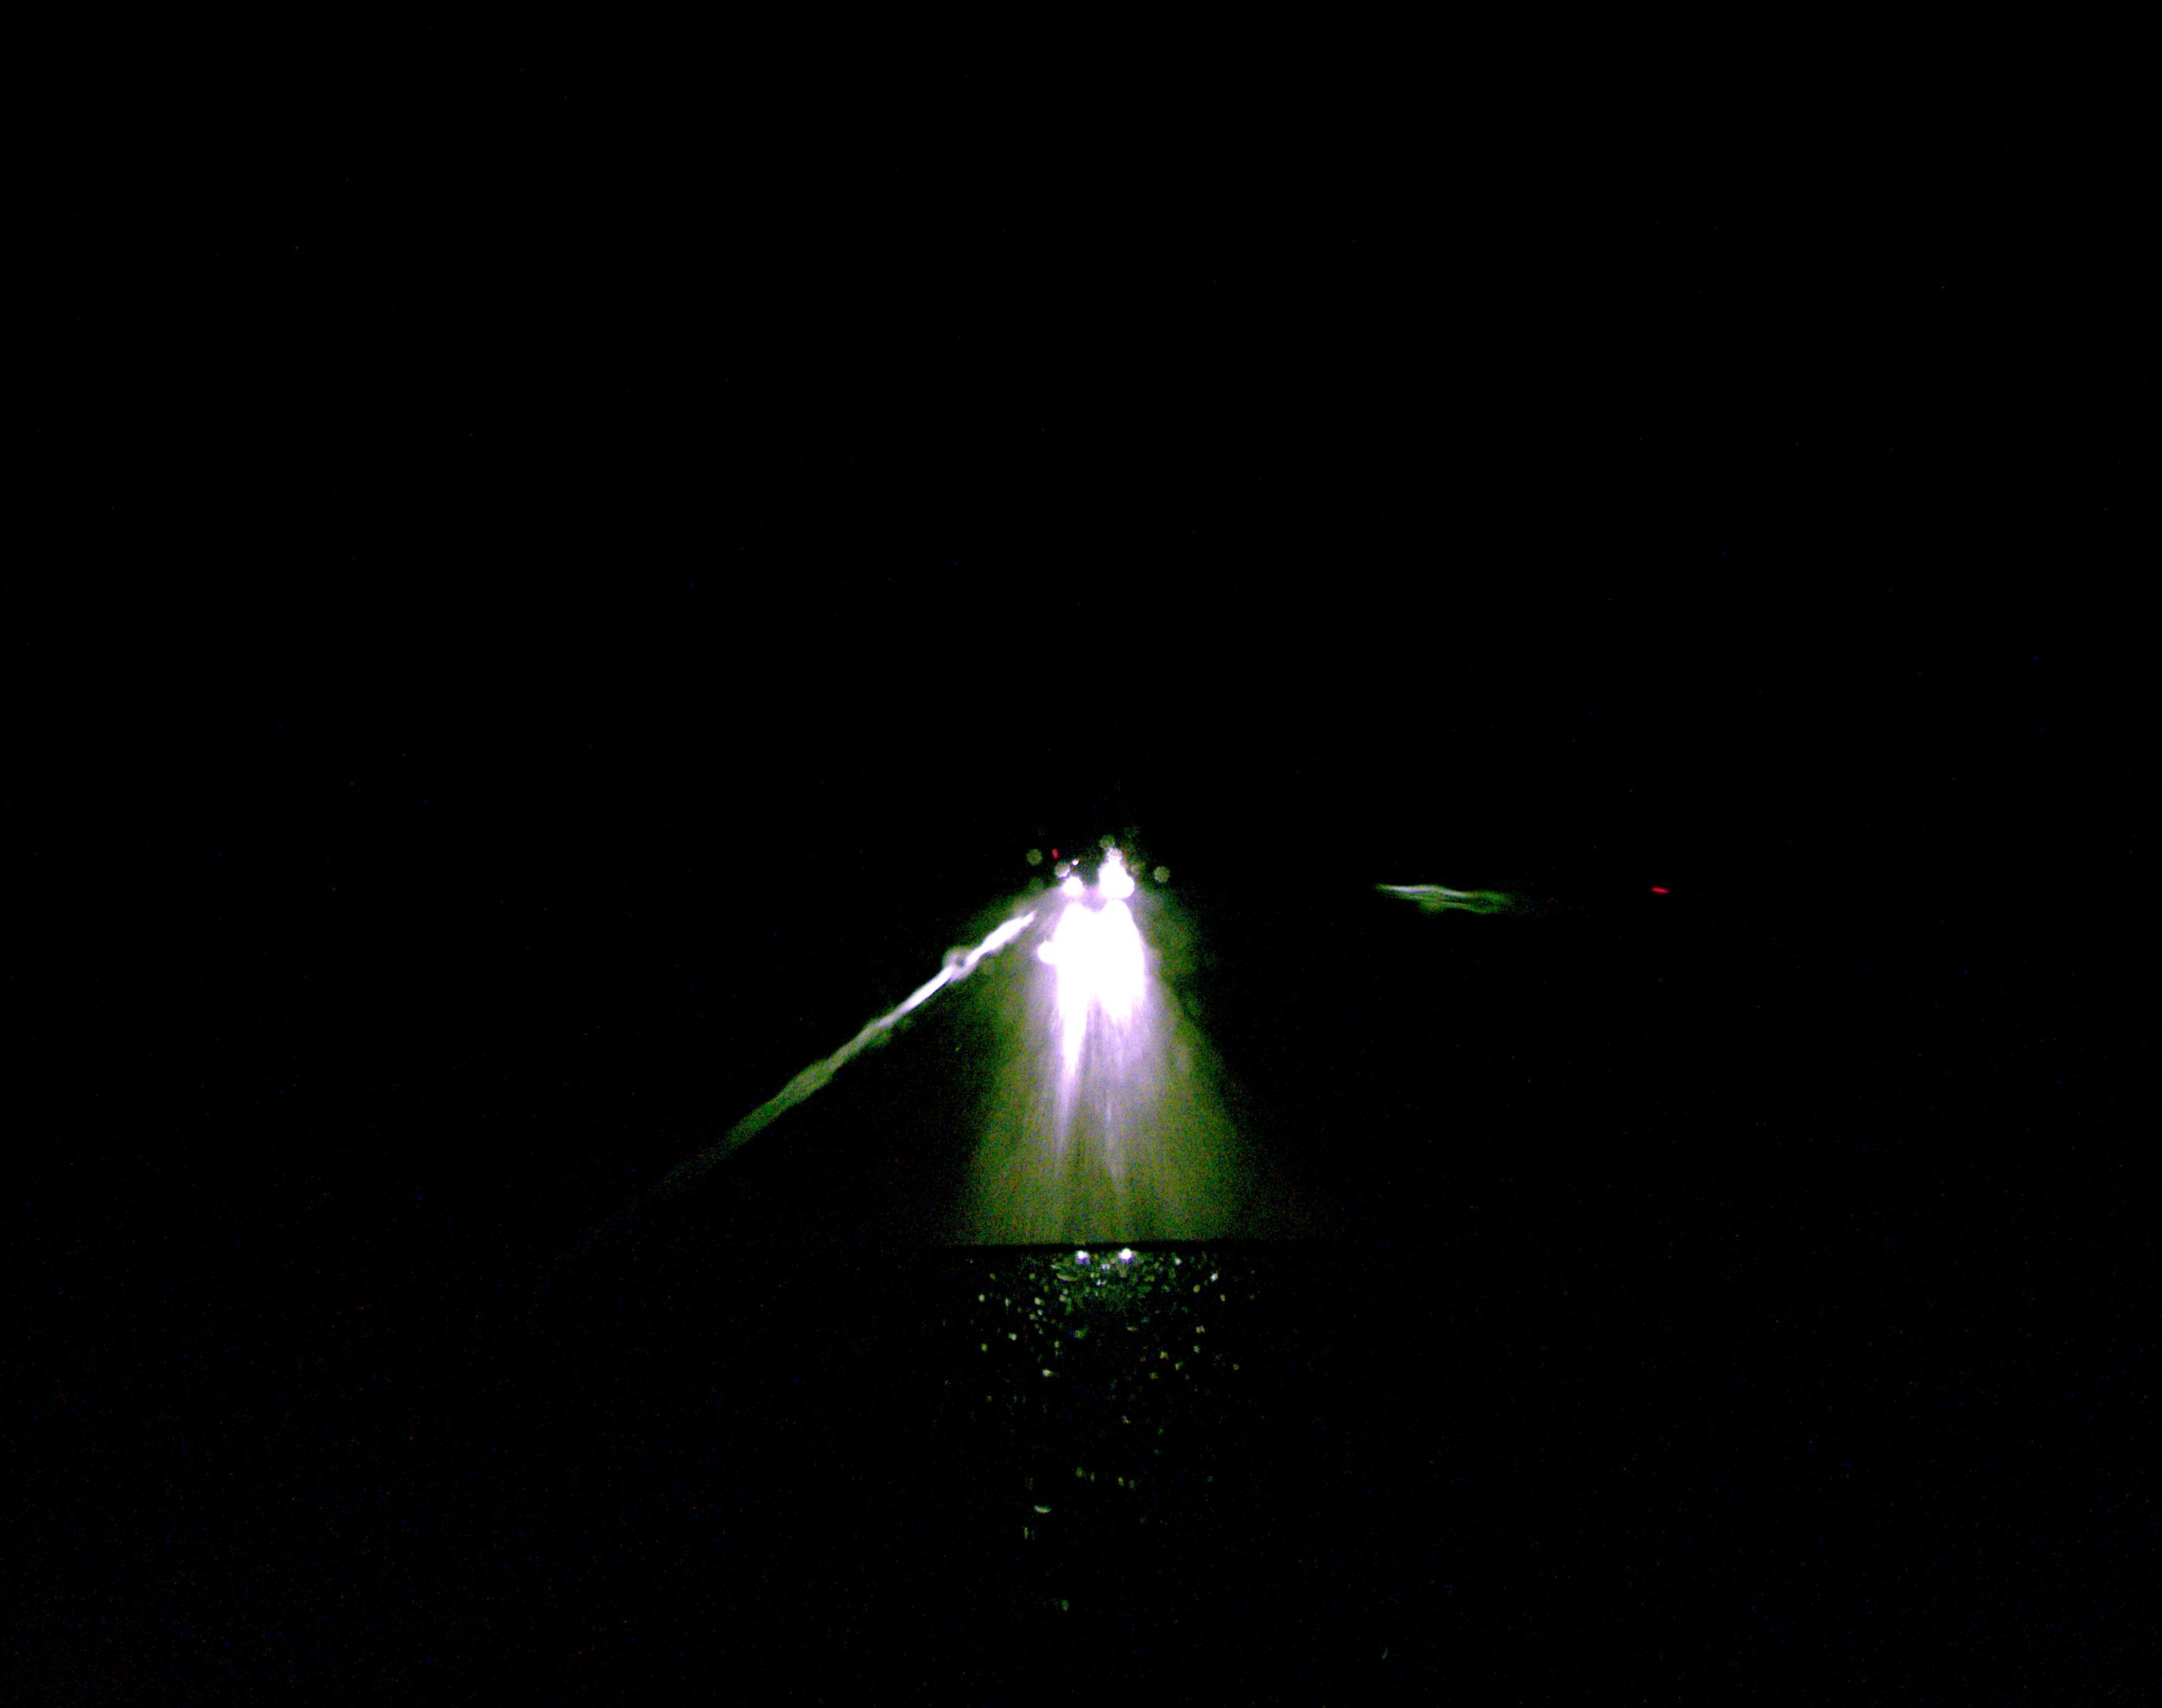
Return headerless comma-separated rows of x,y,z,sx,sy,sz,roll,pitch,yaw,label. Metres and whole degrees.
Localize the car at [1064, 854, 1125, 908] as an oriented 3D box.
0.526,0.914,27.569,1.862,1.601,4.420,-6,-1,2,car
